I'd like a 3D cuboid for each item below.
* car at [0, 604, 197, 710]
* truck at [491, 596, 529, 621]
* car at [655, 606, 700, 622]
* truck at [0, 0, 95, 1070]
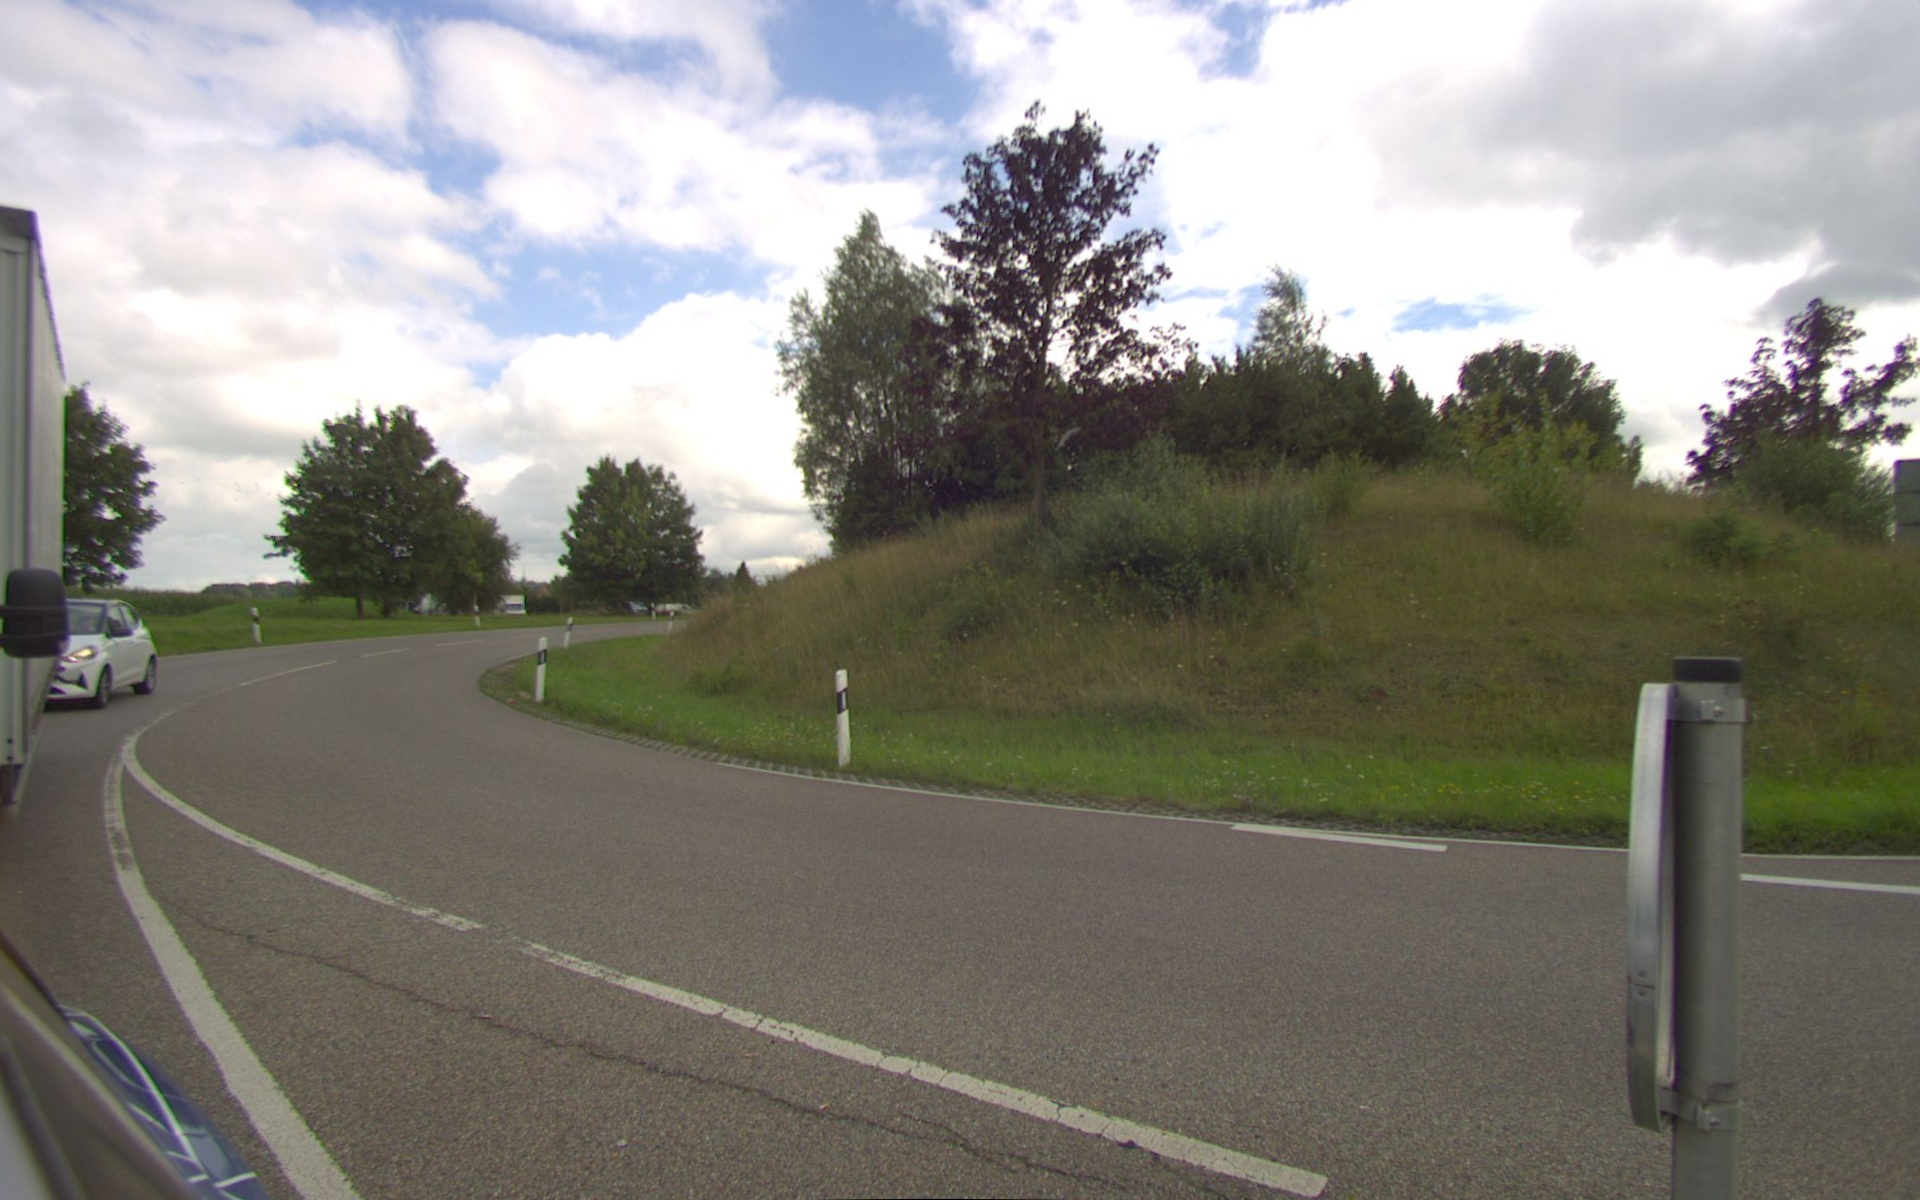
[{"bbox_3d":[-13.899,0.849,16.464,1.721,1.477,4.013,-1,-1,-27],"label":"car"},{"bbox_3d":[-44.828,0.860,100.759,2.254,2.439,6.397,0,-1,-35],"label":"truck"},{"bbox_3d":[-29.756,1.449,106.480,4.328,1.597,2.007,-1,-1,-24],"label":"car"},{"bbox_3d":[-6.891,-0.400,5.830,2.795,3.792,8.814,1,-1,-40],"label":"truck"}]
